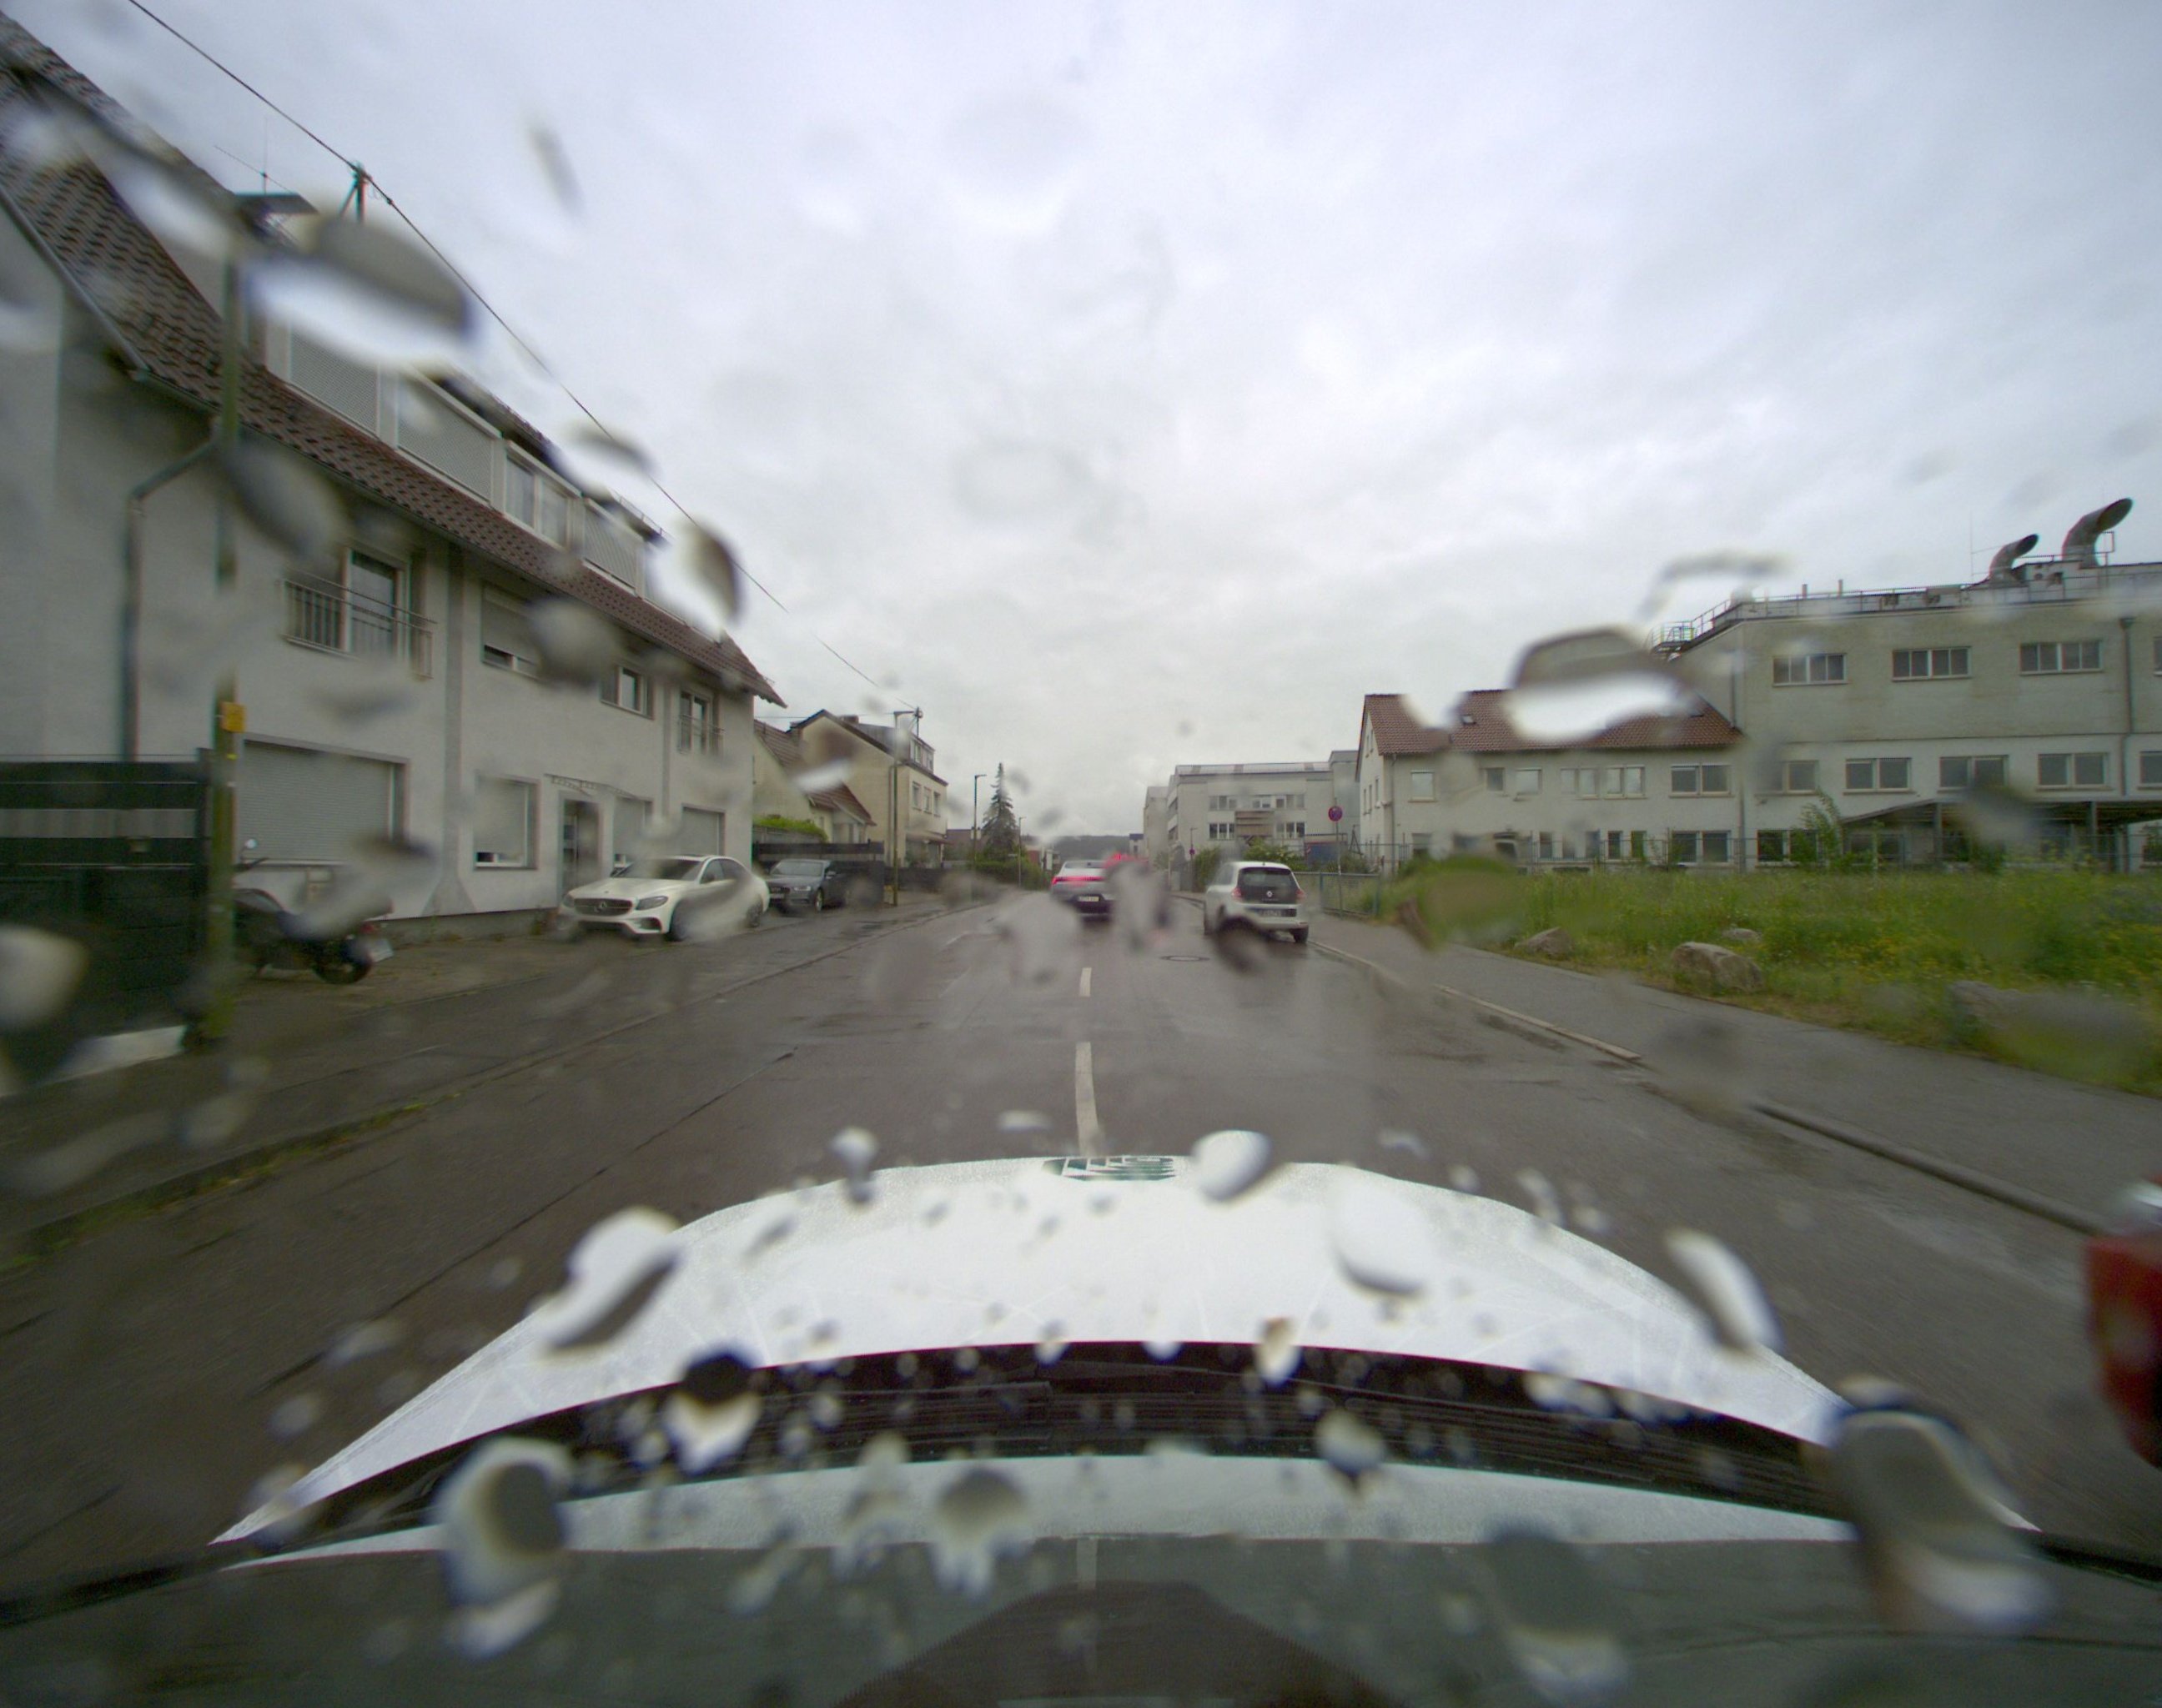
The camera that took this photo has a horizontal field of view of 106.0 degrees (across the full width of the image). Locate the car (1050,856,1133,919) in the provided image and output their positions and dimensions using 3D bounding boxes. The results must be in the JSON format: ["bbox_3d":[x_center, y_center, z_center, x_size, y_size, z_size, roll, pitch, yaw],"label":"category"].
[{"bbox_3d":[0.256,0.823,21.979,1.987,1.502,4.669,0,0,0],"label":"car"}]

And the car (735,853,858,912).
[{"bbox_3d":[-7.610,0.710,22.281,1.822,1.368,4.565,3,0,-2],"label":"car"}]

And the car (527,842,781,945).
[{"bbox_3d":[-7.590,0.631,15.202,1.986,1.510,4.896,3,0,1],"label":"car"}]

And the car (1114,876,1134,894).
[{"bbox_3d":[5.201,3.755,98.559,1.988,2.014,3.995,-1,-4,-2],"label":"car"}]

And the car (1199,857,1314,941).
[{"bbox_3d":[3.578,0.856,17.219,1.675,1.557,3.674,1,0,1],"label":"car"}]

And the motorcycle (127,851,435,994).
[{"bbox_3d":[-8.062,0.666,8.275,2.354,1.273,0.736,3,0,1],"label":"motorcycle"}]
